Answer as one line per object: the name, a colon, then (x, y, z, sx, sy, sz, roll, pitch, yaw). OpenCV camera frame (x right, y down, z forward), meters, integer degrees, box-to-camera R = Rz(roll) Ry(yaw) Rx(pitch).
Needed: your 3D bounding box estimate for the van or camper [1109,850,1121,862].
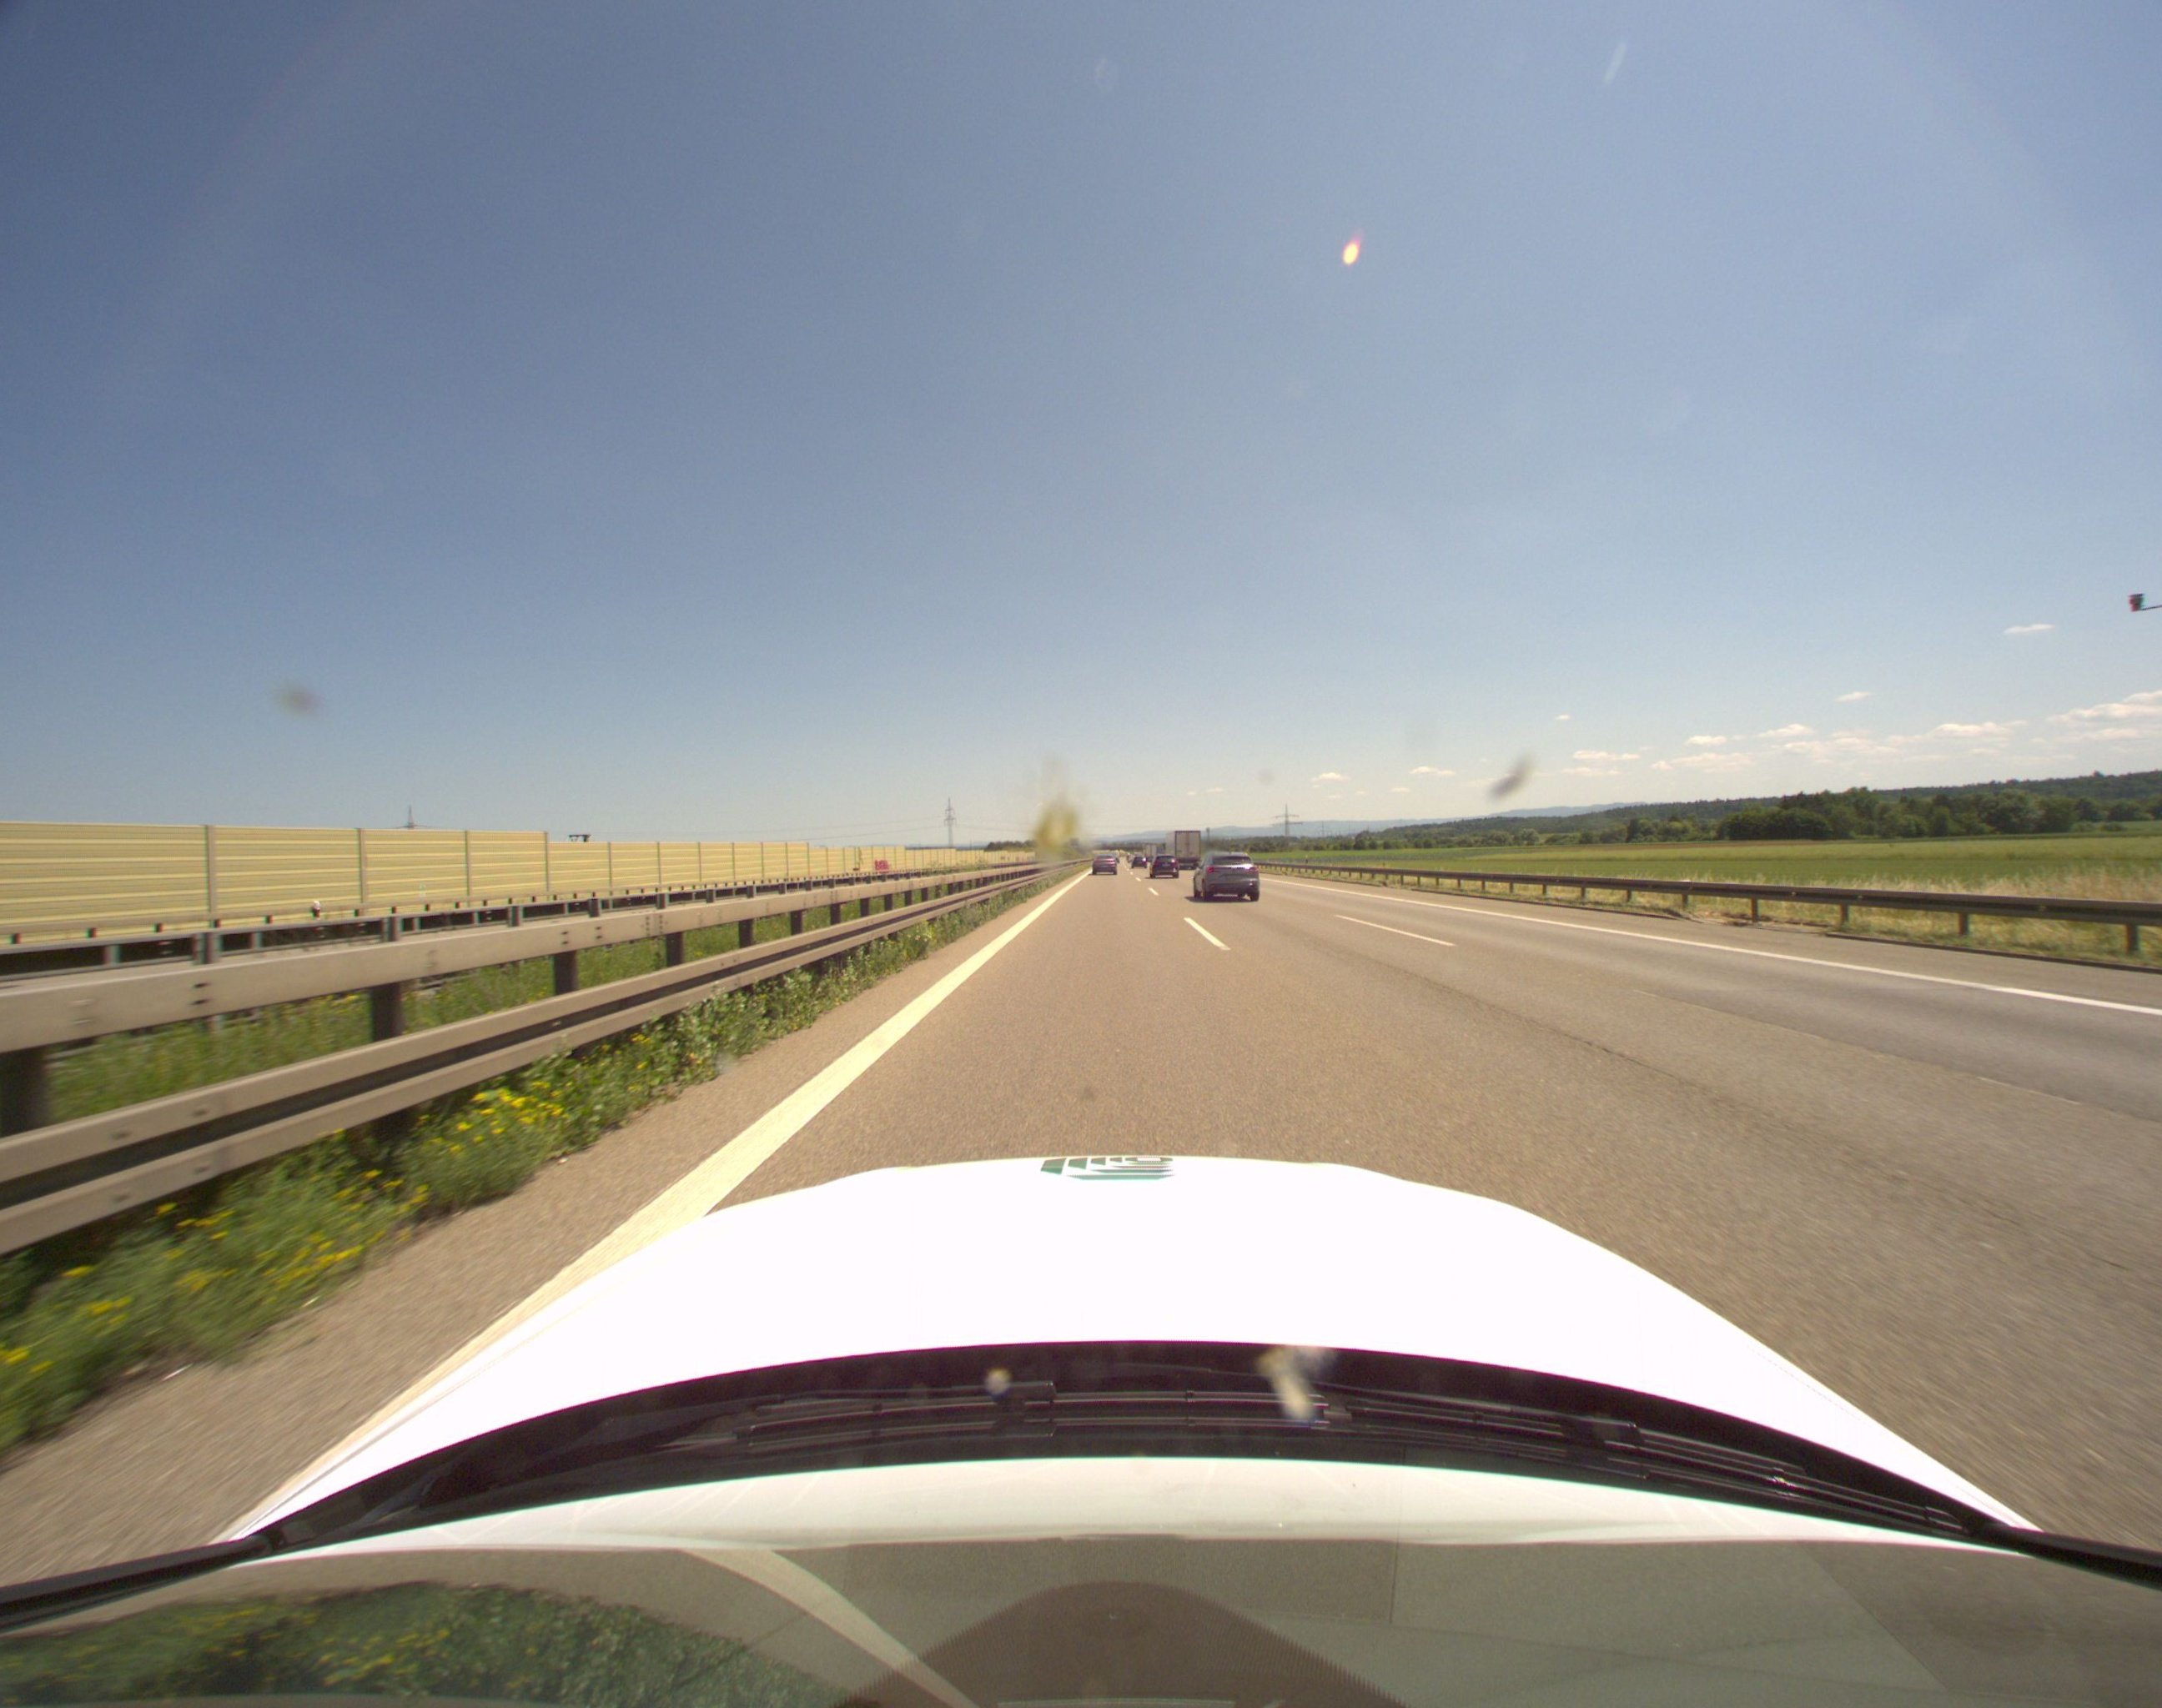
van or camper: (6.491, 0.354, 156.302, 2.101, 2.211, 5.270, 0, 0, 4)

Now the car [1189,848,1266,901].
car: (4.883, 0.676, 27.796, 1.845, 1.648, 4.644, 0, -1, 0)

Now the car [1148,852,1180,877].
car: (5.513, 0.685, 54.540, 1.790, 1.562, 3.823, 0, 0, 1)

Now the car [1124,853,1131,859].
car: (13.919, 0.580, 242.266, 1.985, 1.683, 4.004, 0, 0, 4)

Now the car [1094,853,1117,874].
car: (1.944, 0.732, 65.638, 1.845, 1.664, 3.735, 0, 0, 1)

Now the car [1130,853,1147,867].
car: (6.832, 0.747, 96.797, 1.925, 1.574, 4.938, 0, 0, 3)

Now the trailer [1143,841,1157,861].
trailer: (15.346, -0.558, 181.820, 2.930, 4.198, 13.609, 0, 0, 4)

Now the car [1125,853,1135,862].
car: (9.849, 0.747, 163.129, 1.985, 1.683, 4.004, 0, 0, 4)

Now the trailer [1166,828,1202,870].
trailer: (10.993, -0.490, 88.208, 2.856, 4.220, 13.304, 0, 0, 3)
